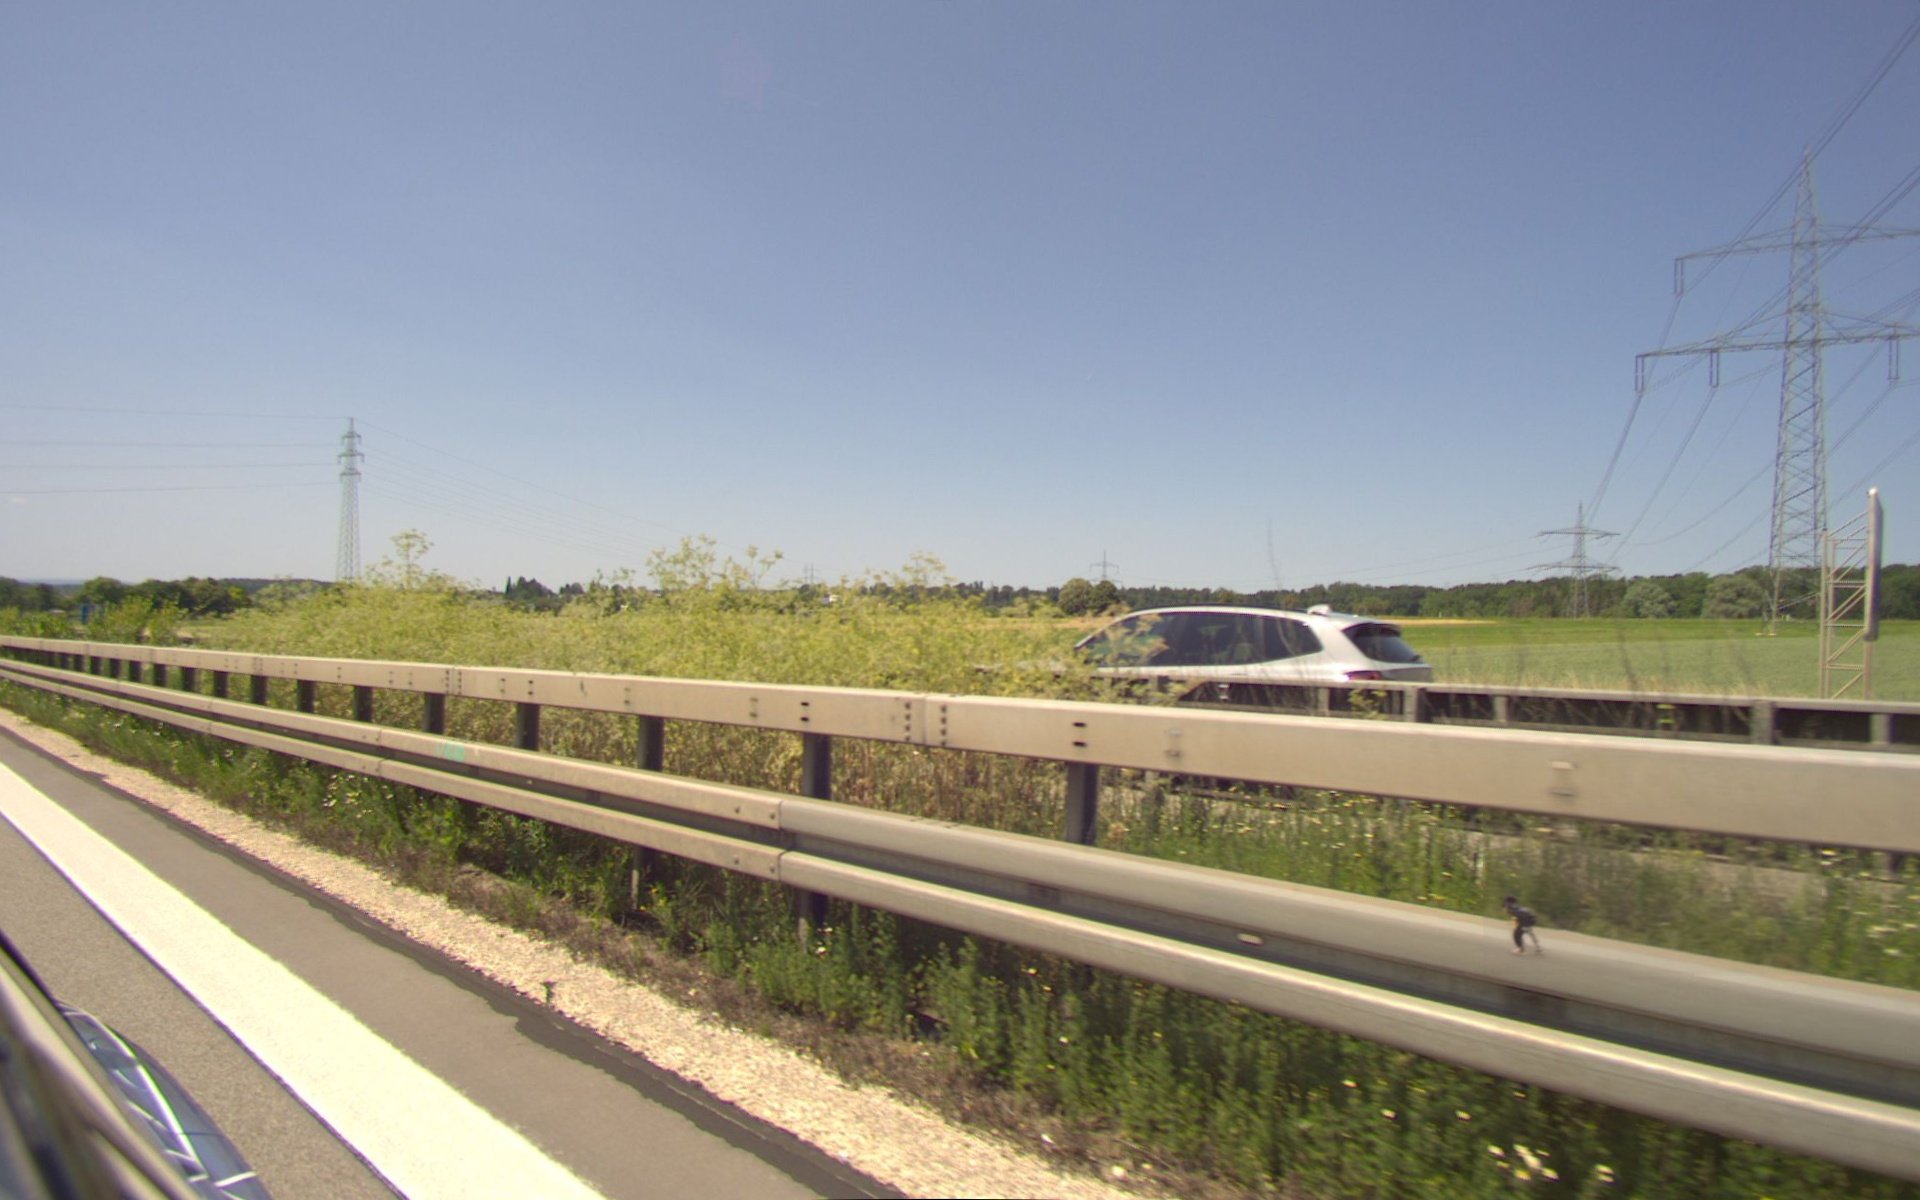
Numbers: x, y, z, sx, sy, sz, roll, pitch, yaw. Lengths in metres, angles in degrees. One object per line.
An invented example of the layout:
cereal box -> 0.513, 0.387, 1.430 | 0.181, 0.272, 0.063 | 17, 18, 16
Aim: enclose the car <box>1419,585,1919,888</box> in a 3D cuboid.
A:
car -> 5.089, 0.754, 6.806 | 3.352, 1.670, 1.581 | -1, 0, 40
